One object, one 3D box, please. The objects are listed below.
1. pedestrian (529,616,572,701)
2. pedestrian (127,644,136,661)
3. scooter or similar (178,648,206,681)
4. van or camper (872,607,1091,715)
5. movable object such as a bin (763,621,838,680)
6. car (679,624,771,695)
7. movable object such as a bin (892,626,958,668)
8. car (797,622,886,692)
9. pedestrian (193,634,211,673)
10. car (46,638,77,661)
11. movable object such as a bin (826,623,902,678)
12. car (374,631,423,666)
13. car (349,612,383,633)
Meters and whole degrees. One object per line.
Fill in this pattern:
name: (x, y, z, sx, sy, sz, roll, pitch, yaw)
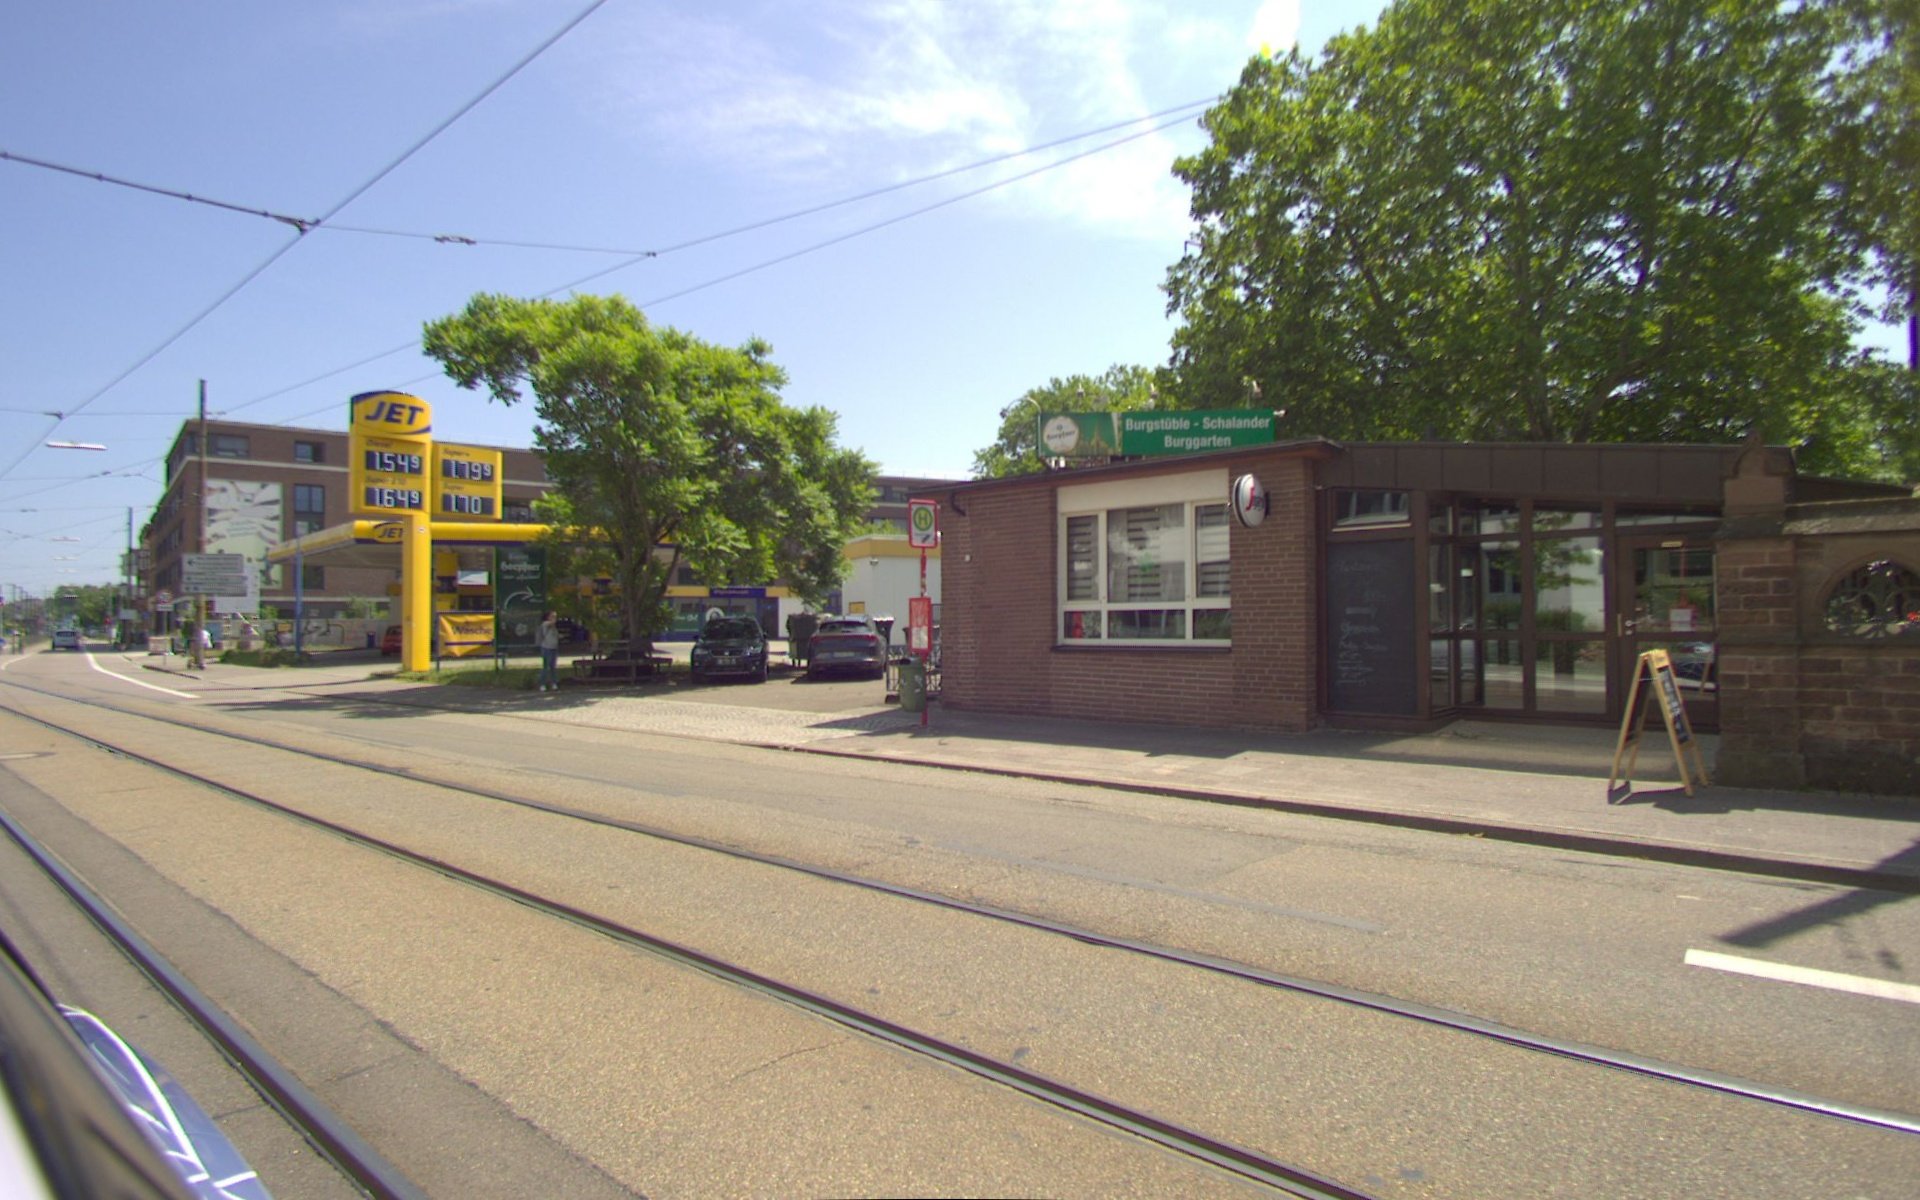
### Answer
pedestrian: (-8.911, 1.260, 22.011, 0.698, 1.789, 0.574, -3, -2, 37)
pedestrian: (-78.879, 4.993, 96.324, 0.596, 1.608, 0.716, 1, -3, -44)
scooter or similar: (-29.118, 2.430, 38.346, 1.375, 1.209, 0.513, -2, -2, 38)
van or camper: (0.456, 1.003, 17.814, 1.870, 1.642, 3.745, -4, -2, 40)
movable object such as a bin: (-4.452, 1.379, 28.124, 1.499, 1.521, 2.106, -1, -1, -25)
car: (-5.644, 1.376, 24.741, 1.904, 1.500, 4.460, -1, -1, -10)
movable object such as a bin: (-1.027, 1.350, 29.397, 1.384, 1.146, 1.569, -1, -1, -25)
car: (-2.991, 1.324, 24.826, 1.904, 1.500, 4.460, -1, -1, -10)
pedestrian: (-33.452, 2.362, 44.676, 0.617, 1.704, 0.724, 1, -3, -37)
car: (-78.376, 4.320, 88.343, 1.969, 1.813, 4.559, -1, -1, -41)
movable object such as a bin: (-2.749, 1.393, 28.685, 1.499, 1.443, 2.106, -1, -1, -25)
car: (-27.205, 2.369, 49.146, 1.800, 1.516, 4.212, -2, -2, -26)
car: (-44.111, 1.696, 75.117, 1.709, 1.479, 4.008, 0, -2, -37)
